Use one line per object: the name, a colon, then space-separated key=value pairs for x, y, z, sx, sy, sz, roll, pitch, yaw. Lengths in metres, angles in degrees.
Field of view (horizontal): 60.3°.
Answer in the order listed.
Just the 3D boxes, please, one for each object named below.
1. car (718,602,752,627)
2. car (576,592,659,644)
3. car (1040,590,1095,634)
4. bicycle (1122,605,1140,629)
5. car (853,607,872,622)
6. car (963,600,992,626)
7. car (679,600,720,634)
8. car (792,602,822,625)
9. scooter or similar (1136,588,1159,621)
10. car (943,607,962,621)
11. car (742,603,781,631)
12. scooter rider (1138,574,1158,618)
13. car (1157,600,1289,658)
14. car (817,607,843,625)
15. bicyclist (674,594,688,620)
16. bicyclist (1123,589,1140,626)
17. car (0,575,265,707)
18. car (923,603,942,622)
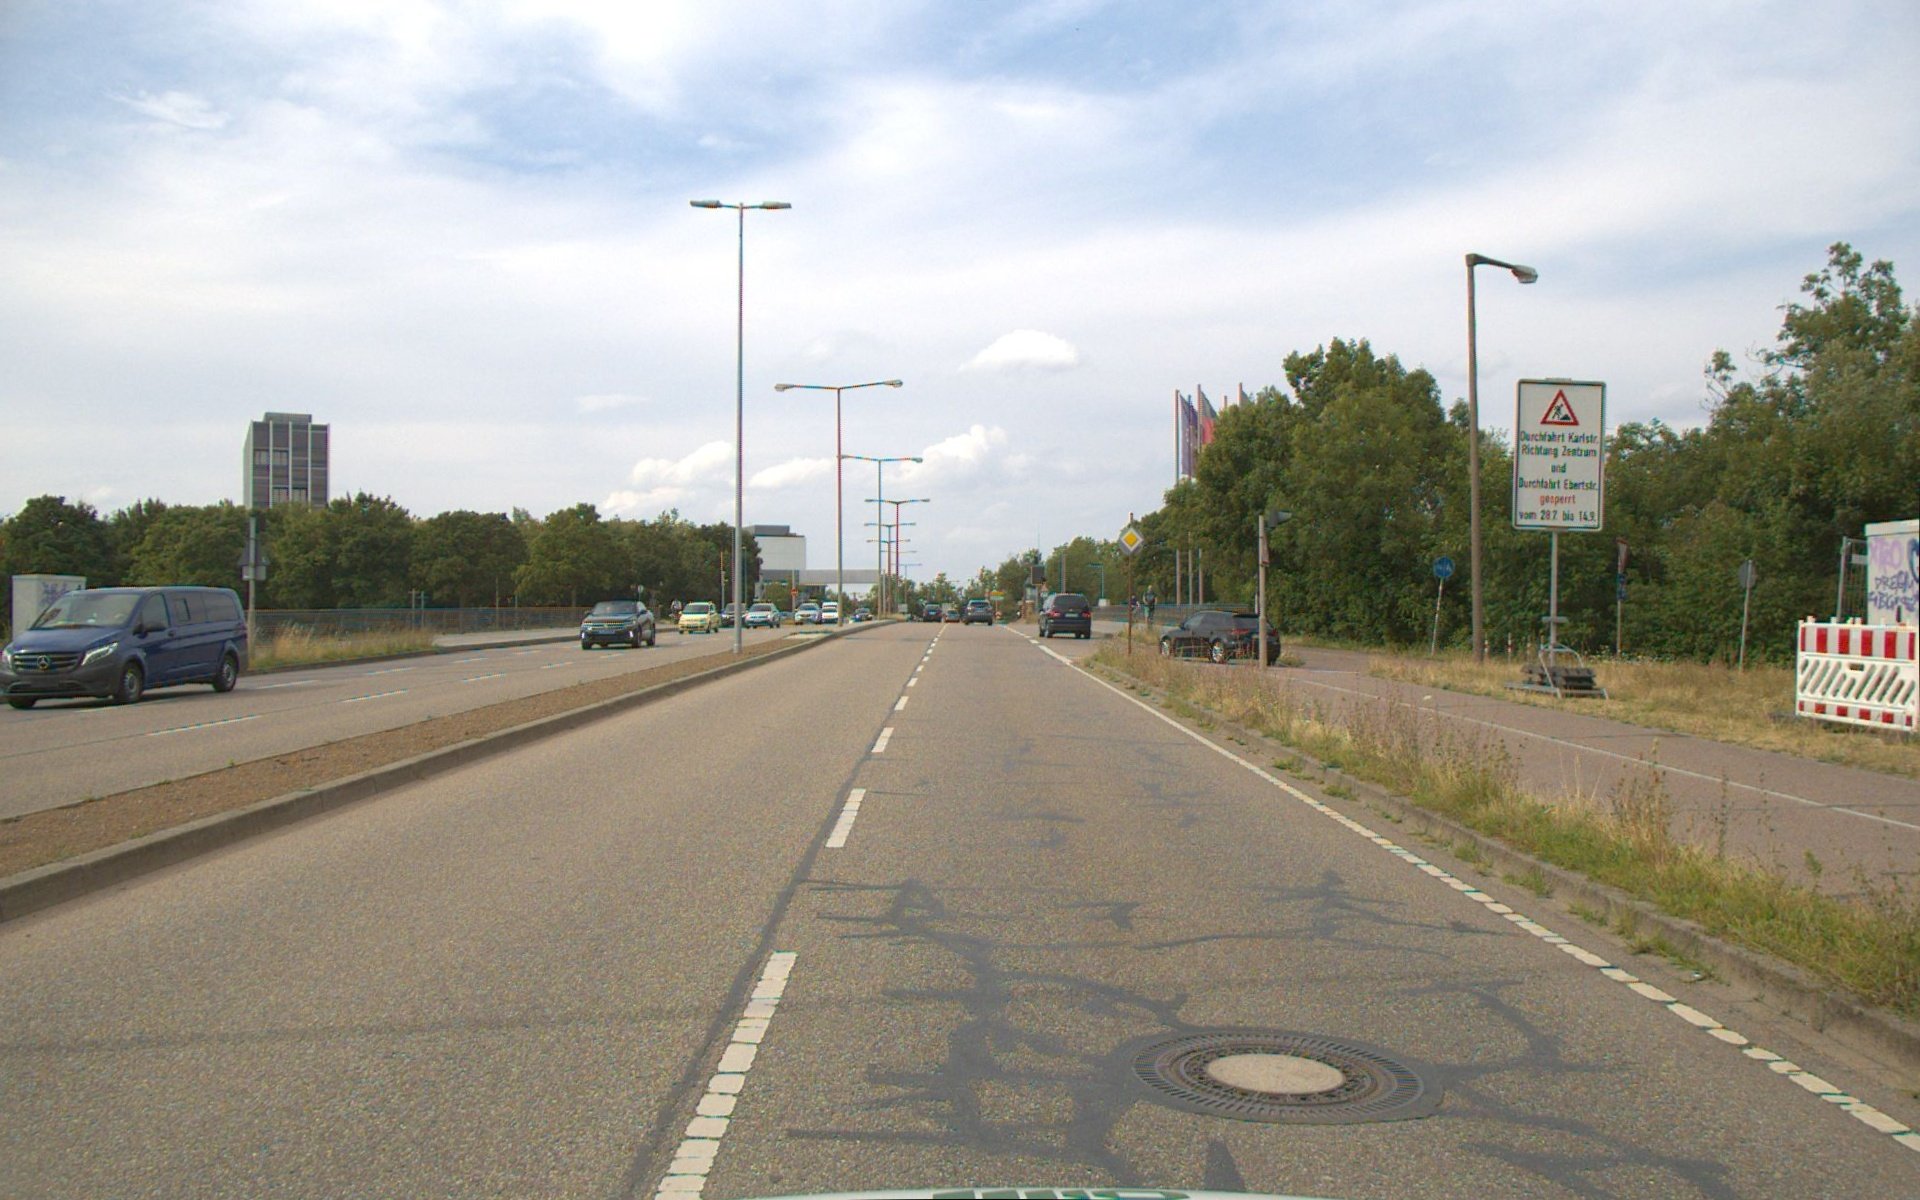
car: x=-14.882 y=0.937 z=109.508 sx=1.704 sy=1.542 sz=4.314 roll=-2 pitch=0 yaw=-1
car: x=-10.683 y=0.534 z=51.913 sx=1.727 sy=1.466 sz=4.177 roll=-2 pitch=1 yaw=-1
car: x=4.239 y=0.485 z=65.733 sx=1.696 sy=1.682 sz=4.112 roll=1 pitch=-1 yaw=-3
bicycle: x=7.971 y=0.802 z=76.994 sx=0.565 sy=1.040 sz=1.975 roll=-3 pitch=1 yaw=-1
car: x=-10.215 y=1.548 z=174.006 sx=1.703 sy=1.506 sz=4.775 roll=-2 pitch=-1 yaw=0
car: x=1.132 y=0.875 z=108.101 sx=1.695 sy=1.682 sz=4.113 roll=1 pitch=-1 yaw=-1
car: x=-13.191 y=0.853 z=83.901 sx=1.517 sy=1.605 sz=3.690 roll=-2 pitch=0 yaw=-1
car: x=-12.137 y=1.052 z=131.480 sx=1.824 sy=1.755 sz=4.770 roll=-2 pitch=0 yaw=0
scooter or similar: x=7.298 y=0.178 z=64.318 sx=0.577 sy=1.246 sz=1.200 roll=1 pitch=0 yaw=-8
car: x=-0.878 y=1.609 z=189.961 sx=1.697 sy=1.553 sz=4.109 roll=1 pitch=-1 yaw=-6
car: x=-11.776 y=0.980 z=98.528 sx=1.615 sy=1.542 sz=4.018 roll=-2 pitch=1 yaw=3
scooter rider: x=7.307 y=-0.156 z=64.277 sx=0.576 sy=1.720 sz=0.742 roll=1 pitch=-1 yaw=-9
car: x=7.041 y=0.743 z=44.718 sx=1.706 sy=1.419 sz=4.088 roll=-1 pitch=1 yaw=-22
car: x=-11.714 y=1.435 z=149.331 sx=1.702 sy=1.506 sz=4.472 roll=-2 pitch=0 yaw=2
bicyclist: x=-18.529 y=0.457 z=109.843 sx=0.779 sy=1.655 sz=0.976 roll=1 pitch=-1 yaw=-3
bicyclist: x=7.973 y=0.342 z=77.005 sx=0.651 sy=1.688 sz=0.805 roll=1 pitch=1 yaw=-1
car: x=-13.841 y=0.612 z=27.872 sx=1.809 sy=1.926 sz=5.505 roll=-3 pitch=0 yaw=1
car: x=-2.561 y=1.143 z=153.503 sx=1.695 sy=1.682 sz=4.114 roll=1 pitch=-1 yaw=0
